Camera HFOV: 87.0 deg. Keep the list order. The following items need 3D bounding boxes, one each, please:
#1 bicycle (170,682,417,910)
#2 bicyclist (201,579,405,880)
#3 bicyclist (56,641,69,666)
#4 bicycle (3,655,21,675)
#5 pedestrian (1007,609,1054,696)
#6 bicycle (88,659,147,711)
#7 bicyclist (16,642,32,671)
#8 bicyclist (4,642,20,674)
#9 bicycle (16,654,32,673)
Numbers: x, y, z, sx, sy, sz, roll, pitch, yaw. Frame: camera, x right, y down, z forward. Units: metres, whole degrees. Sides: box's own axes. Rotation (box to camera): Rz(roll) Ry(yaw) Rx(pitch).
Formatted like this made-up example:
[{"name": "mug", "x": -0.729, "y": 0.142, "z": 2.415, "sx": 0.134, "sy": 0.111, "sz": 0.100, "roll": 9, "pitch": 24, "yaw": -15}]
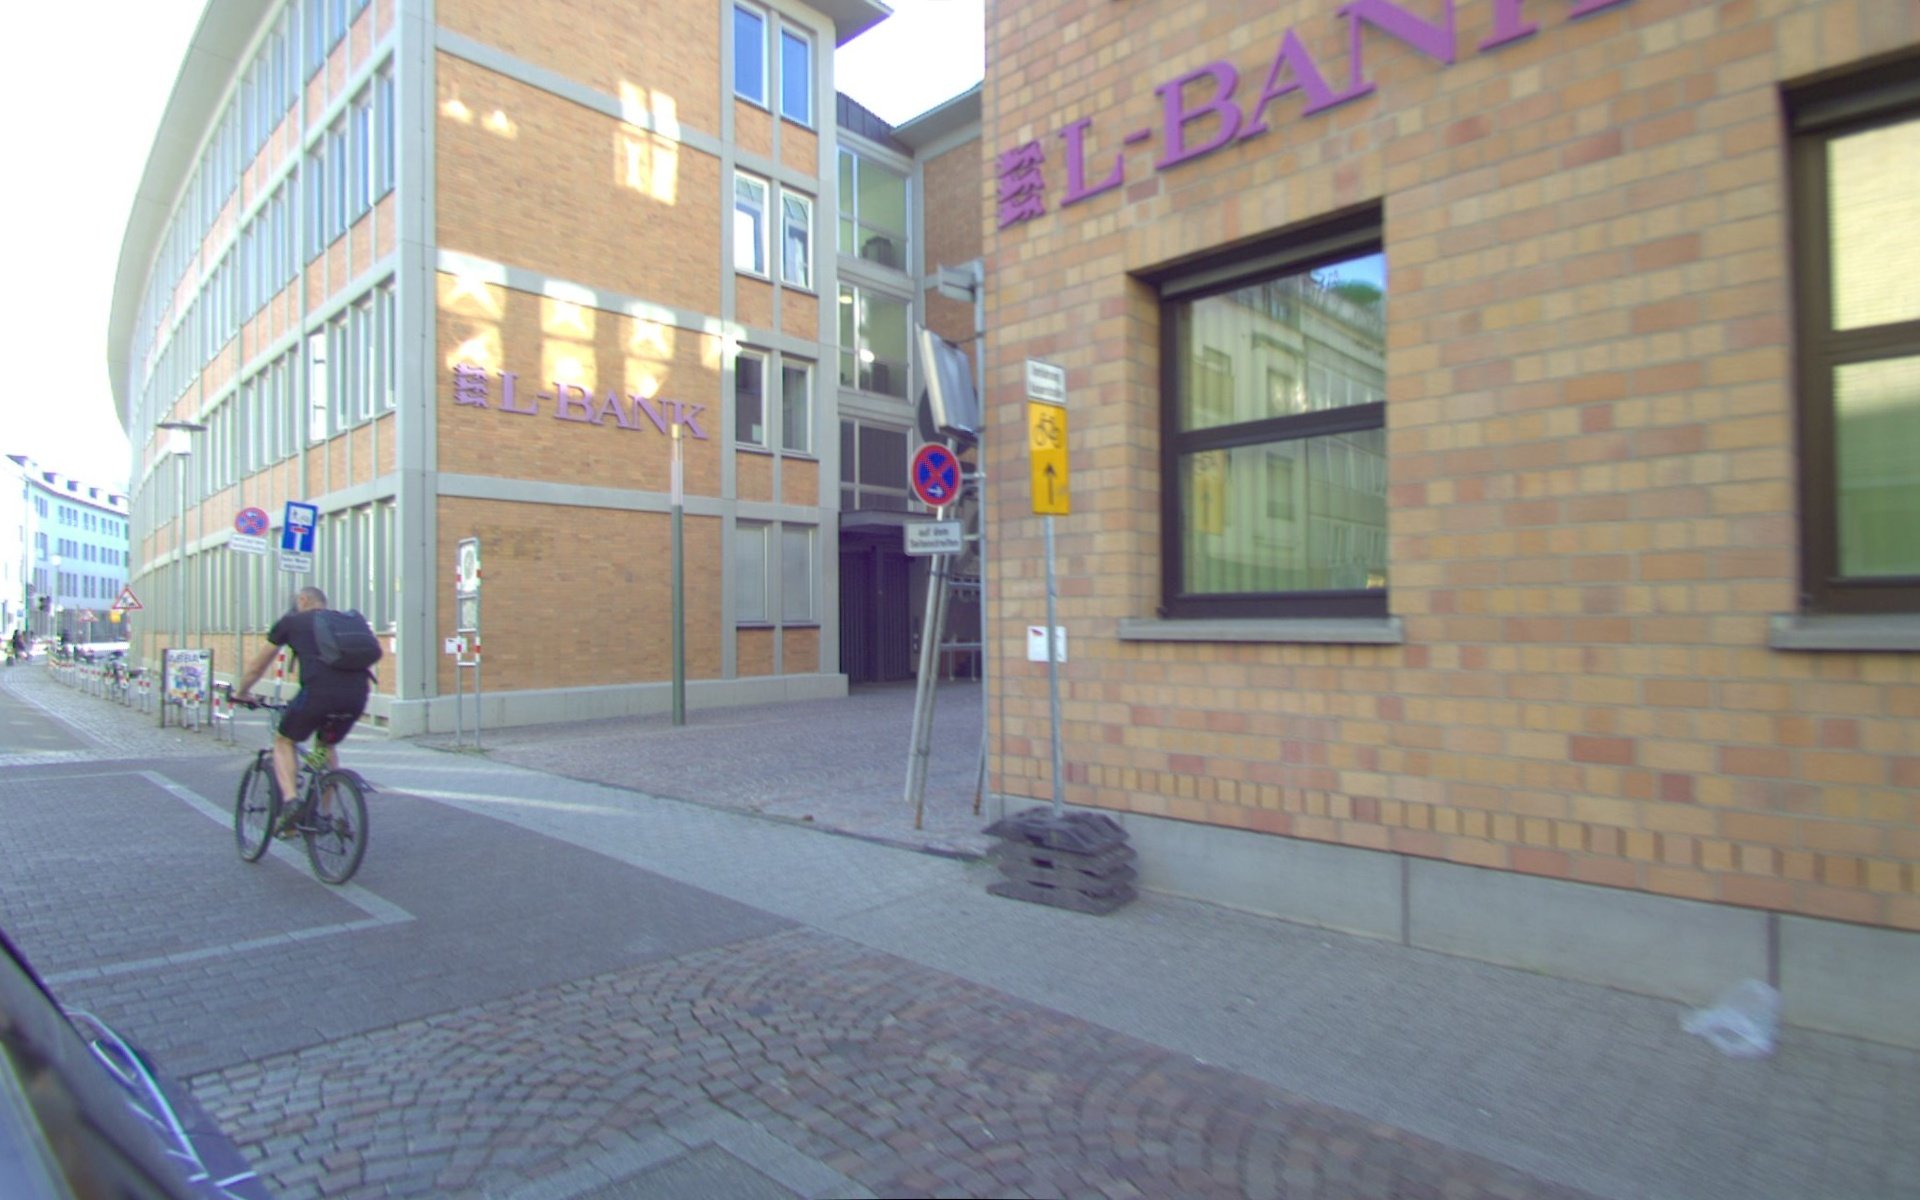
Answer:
[{"name": "bicycle", "x": -4.103, "y": 1.112, "z": 6.189, "sx": 1.732, "sy": 1.140, "sz": 0.645, "roll": -1, "pitch": -5, "yaw": 37}, {"name": "bicyclist", "x": -3.978, "y": 0.734, "z": 6.134, "sx": 0.924, "sy": 1.655, "sz": 0.656, "roll": -1, "pitch": -5, "yaw": 36}, {"name": "bicyclist", "x": -56.738, "y": 3.389, "z": 63.992, "sx": 0.572, "sy": 1.587, "sz": 0.693, "roll": 0, "pitch": -2, "yaw": -39}, {"name": "bicycle", "x": -47.668, "y": 3.269, "z": 50.888, "sx": 0.568, "sy": 0.968, "sz": 1.723, "roll": 0, "pitch": -2, "yaw": -40}, {"name": "pedestrian", "x": 1.484, "y": 1.097, "z": 21.286, "sx": 0.693, "sy": 1.793, "sz": 0.687, "roll": -2, "pitch": -2, "yaw": 43}, {"name": "bicycle", "x": -18.575, "y": 1.850, "z": 22.304, "sx": 1.820, "sy": 1.062, "sz": 0.620, "roll": -2, "pitch": -2, "yaw": 38}, {"name": "bicyclist", "x": -50.895, "y": 3.043, "z": 55.046, "sx": 0.568, "sy": 1.545, "sz": 0.817, "roll": 0, "pitch": -2, "yaw": -40}, {"name": "bicyclist", "x": -47.720, "y": 2.894, "z": 50.944, "sx": 0.572, "sy": 1.587, "sz": 0.693, "roll": 0, "pitch": -2, "yaw": -41}, {"name": "bicycle", "x": -50.874, "y": 3.462, "z": 55.017, "sx": 0.568, "sy": 0.968, "sz": 1.723, "roll": 0, "pitch": -2, "yaw": -40}]
